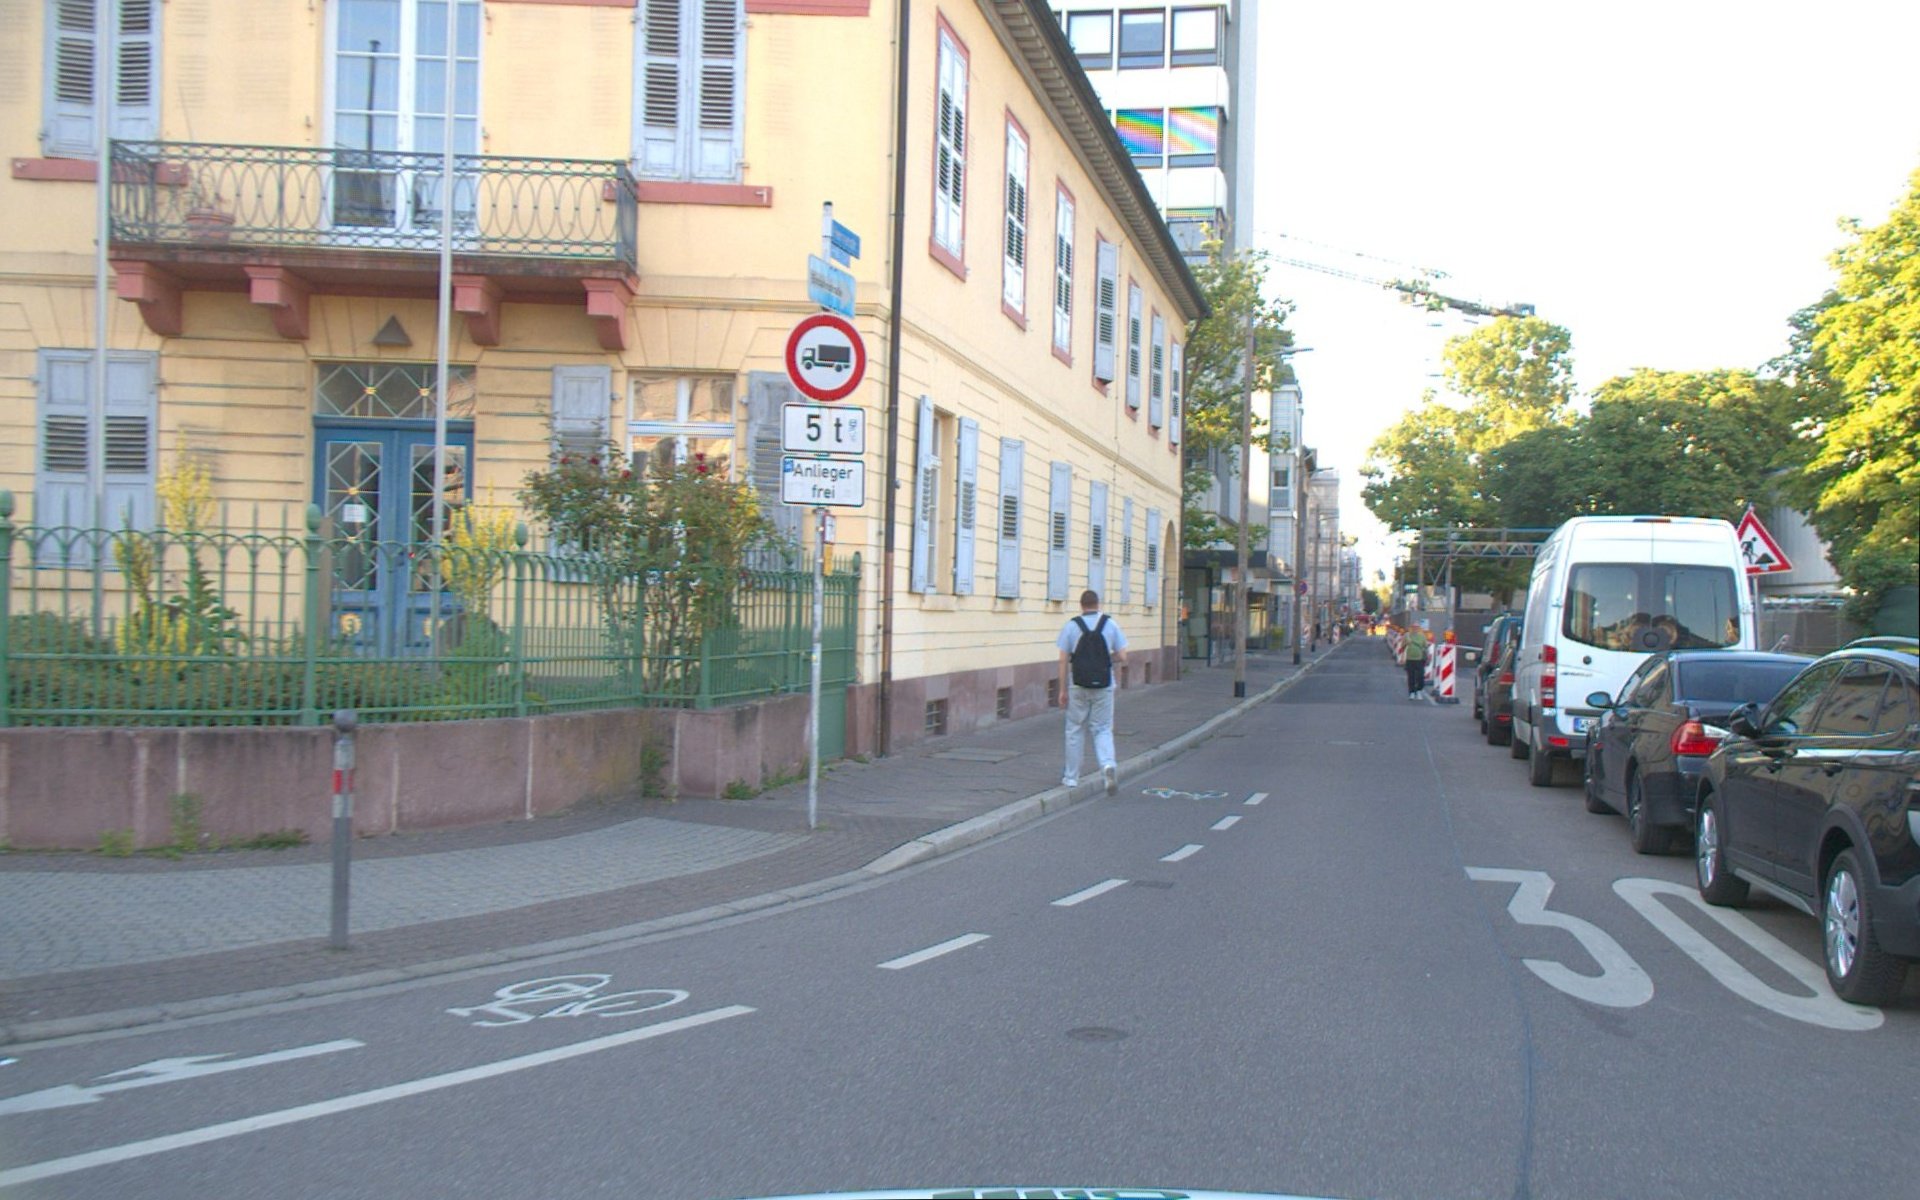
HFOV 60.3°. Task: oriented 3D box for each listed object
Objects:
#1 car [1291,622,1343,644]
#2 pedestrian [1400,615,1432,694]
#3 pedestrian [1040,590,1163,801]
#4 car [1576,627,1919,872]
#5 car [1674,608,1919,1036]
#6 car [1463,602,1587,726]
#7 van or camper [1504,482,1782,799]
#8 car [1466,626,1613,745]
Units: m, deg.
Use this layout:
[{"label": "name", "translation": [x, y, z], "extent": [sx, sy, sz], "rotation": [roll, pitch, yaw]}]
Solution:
[{"label": "car", "translation": [25.895, 2.392, 119.980], "extent": [3.663, 1.485, 1.699], "rotation": [1, -1, 14]}, {"label": "pedestrian", "translation": [9.859, 1.170, 35.730], "extent": [0.600, 1.657, 0.819], "rotation": [1, -1, 17]}, {"label": "pedestrian", "translation": [1.241, 0.807, 14.429], "extent": [0.858, 1.754, 0.830], "rotation": [1, -1, 18]}, {"label": "car", "translation": [5.848, 0.967, 12.567], "extent": [1.692, 1.454, 4.477], "rotation": [1, 0, 14]}, {"label": "car", "translation": [4.827, 0.861, 7.989], "extent": [1.740, 1.570, 4.294], "rotation": [1, -1, 13]}, {"label": "car", "translation": [9.437, 1.018, 27.864], "extent": [1.676, 1.881, 4.025], "rotation": [1, 0, 15]}, {"label": "van or camper", "translation": [7.195, 0.400, 18.104], "extent": [2.033, 2.823, 6.453], "rotation": [1, -1, 16]}, {"label": "car", "translation": [8.157, 1.141, 23.557], "extent": [1.656, 1.485, 4.101], "rotation": [1, 0, 15]}]
